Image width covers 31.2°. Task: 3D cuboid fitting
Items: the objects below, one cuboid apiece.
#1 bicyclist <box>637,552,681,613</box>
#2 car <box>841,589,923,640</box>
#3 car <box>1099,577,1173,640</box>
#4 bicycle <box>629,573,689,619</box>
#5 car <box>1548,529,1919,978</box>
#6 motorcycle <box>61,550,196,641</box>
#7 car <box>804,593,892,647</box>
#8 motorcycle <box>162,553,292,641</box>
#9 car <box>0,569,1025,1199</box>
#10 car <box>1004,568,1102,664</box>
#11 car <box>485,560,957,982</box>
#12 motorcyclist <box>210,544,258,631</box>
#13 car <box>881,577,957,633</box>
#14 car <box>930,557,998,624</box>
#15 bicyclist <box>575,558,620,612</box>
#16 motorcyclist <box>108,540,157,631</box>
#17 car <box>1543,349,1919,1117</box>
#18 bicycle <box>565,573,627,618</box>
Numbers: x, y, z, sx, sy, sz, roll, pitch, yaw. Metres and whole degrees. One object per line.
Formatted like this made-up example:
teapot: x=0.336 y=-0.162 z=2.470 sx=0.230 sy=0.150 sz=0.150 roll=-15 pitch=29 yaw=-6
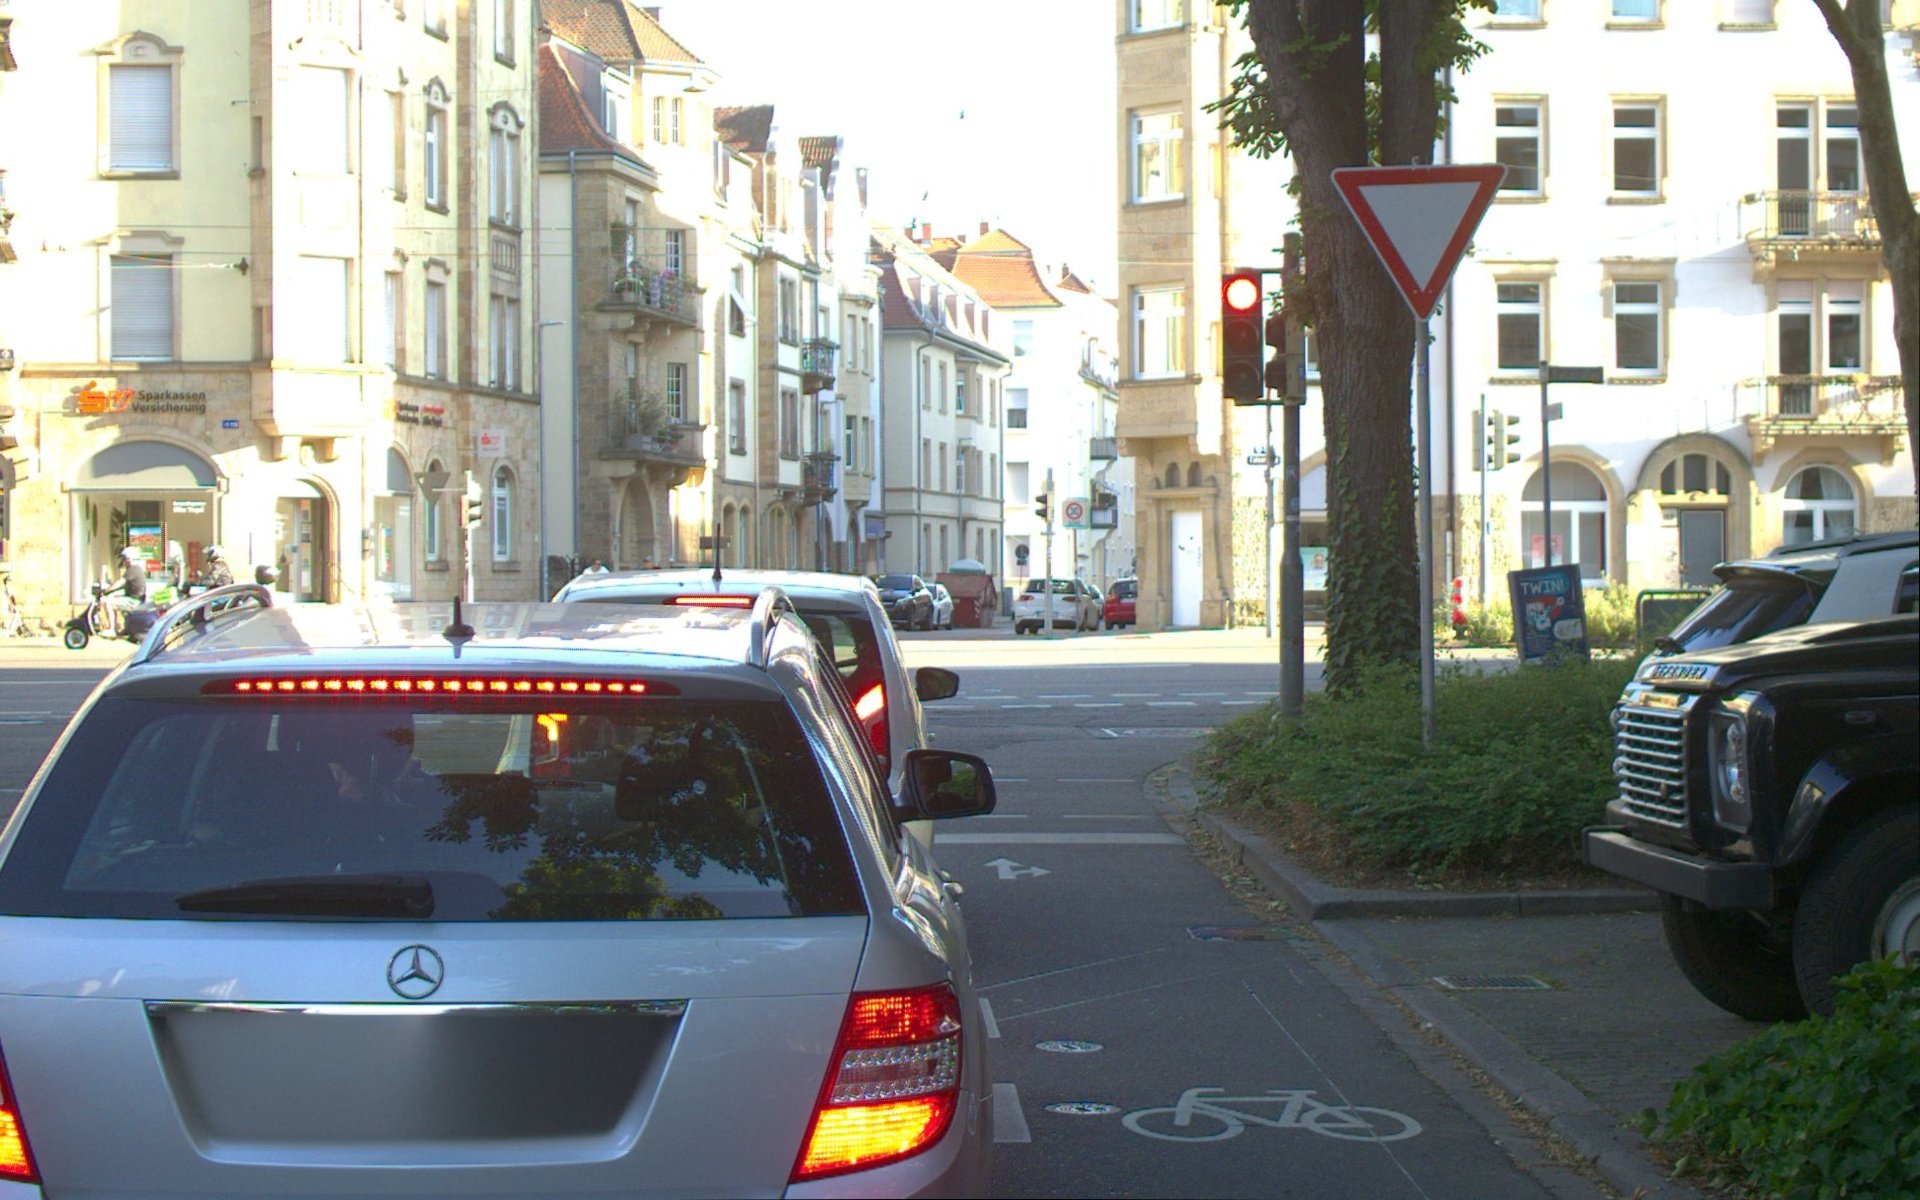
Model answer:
bicyclist: x=-6.433 y=-0.387 z=73.469 sx=0.771 sy=1.285 sz=0.752 roll=1 pitch=1 yaw=11
car: x=-2.311 y=0.411 z=102.530 sx=1.835 sy=1.397 sz=3.999 roll=0 pitch=1 yaw=8
car: x=5.232 y=0.235 z=101.929 sx=1.835 sy=1.738 sz=3.999 roll=0 pitch=1 yaw=8
bicycle: x=-6.434 y=-0.094 z=73.472 sx=0.771 sy=0.931 sz=1.939 roll=1 pitch=1 yaw=11
car: x=4.295 y=0.501 z=13.088 sx=3.723 sy=1.564 sz=1.709 roll=-1 pitch=0 yaw=-4
motorcycle: x=-13.428 y=-0.081 z=55.523 sx=2.033 sy=1.447 sz=0.568 roll=-1 pitch=1 yaw=-4
car: x=-3.146 y=0.537 z=97.039 sx=1.835 sy=1.397 sz=3.999 roll=0 pitch=1 yaw=8
motorcycle: x=-12.185 y=-0.054 z=57.186 sx=2.033 sy=1.447 sz=0.568 roll=-1 pitch=1 yaw=-4
car: x=-0.893 y=0.678 z=6.959 sx=1.777 sy=1.447 sz=4.548 roll=0 pitch=1 yaw=-2
car: x=2.353 y=0.366 z=85.897 sx=2.031 sy=2.272 sz=3.999 roll=0 pitch=1 yaw=8
car: x=-0.909 y=0.569 z=14.049 sx=1.619 sy=1.442 sz=4.345 roll=0 pitch=1 yaw=-2
motorcyclist: x=-12.074 y=-0.212 z=57.186 sx=0.681 sy=1.447 sz=0.568 roll=-1 pitch=1 yaw=-4
car: x=-1.265 y=0.136 z=108.759 sx=1.835 sy=1.657 sz=3.999 roll=0 pitch=1 yaw=8
car: x=0.145 y=-0.334 z=117.347 sx=1.787 sy=2.196 sz=3.999 roll=0 pitch=1 yaw=8
bicyclist: x=-7.740 y=-0.326 z=73.459 sx=0.771 sy=1.152 sz=0.752 roll=1 pitch=1 yaw=11
motorcyclist: x=-13.364 y=-0.235 z=55.526 sx=0.681 sy=1.447 sz=0.568 roll=-1 pitch=1 yaw=-4
car: x=4.140 y=0.300 z=10.119 sx=4.465 sy=2.029 sz=1.701 roll=-1 pitch=0 yaw=-3
bicycle: x=-7.758 y=-0.104 z=73.384 sx=0.771 sy=0.936 sz=1.939 roll=1 pitch=1 yaw=11
